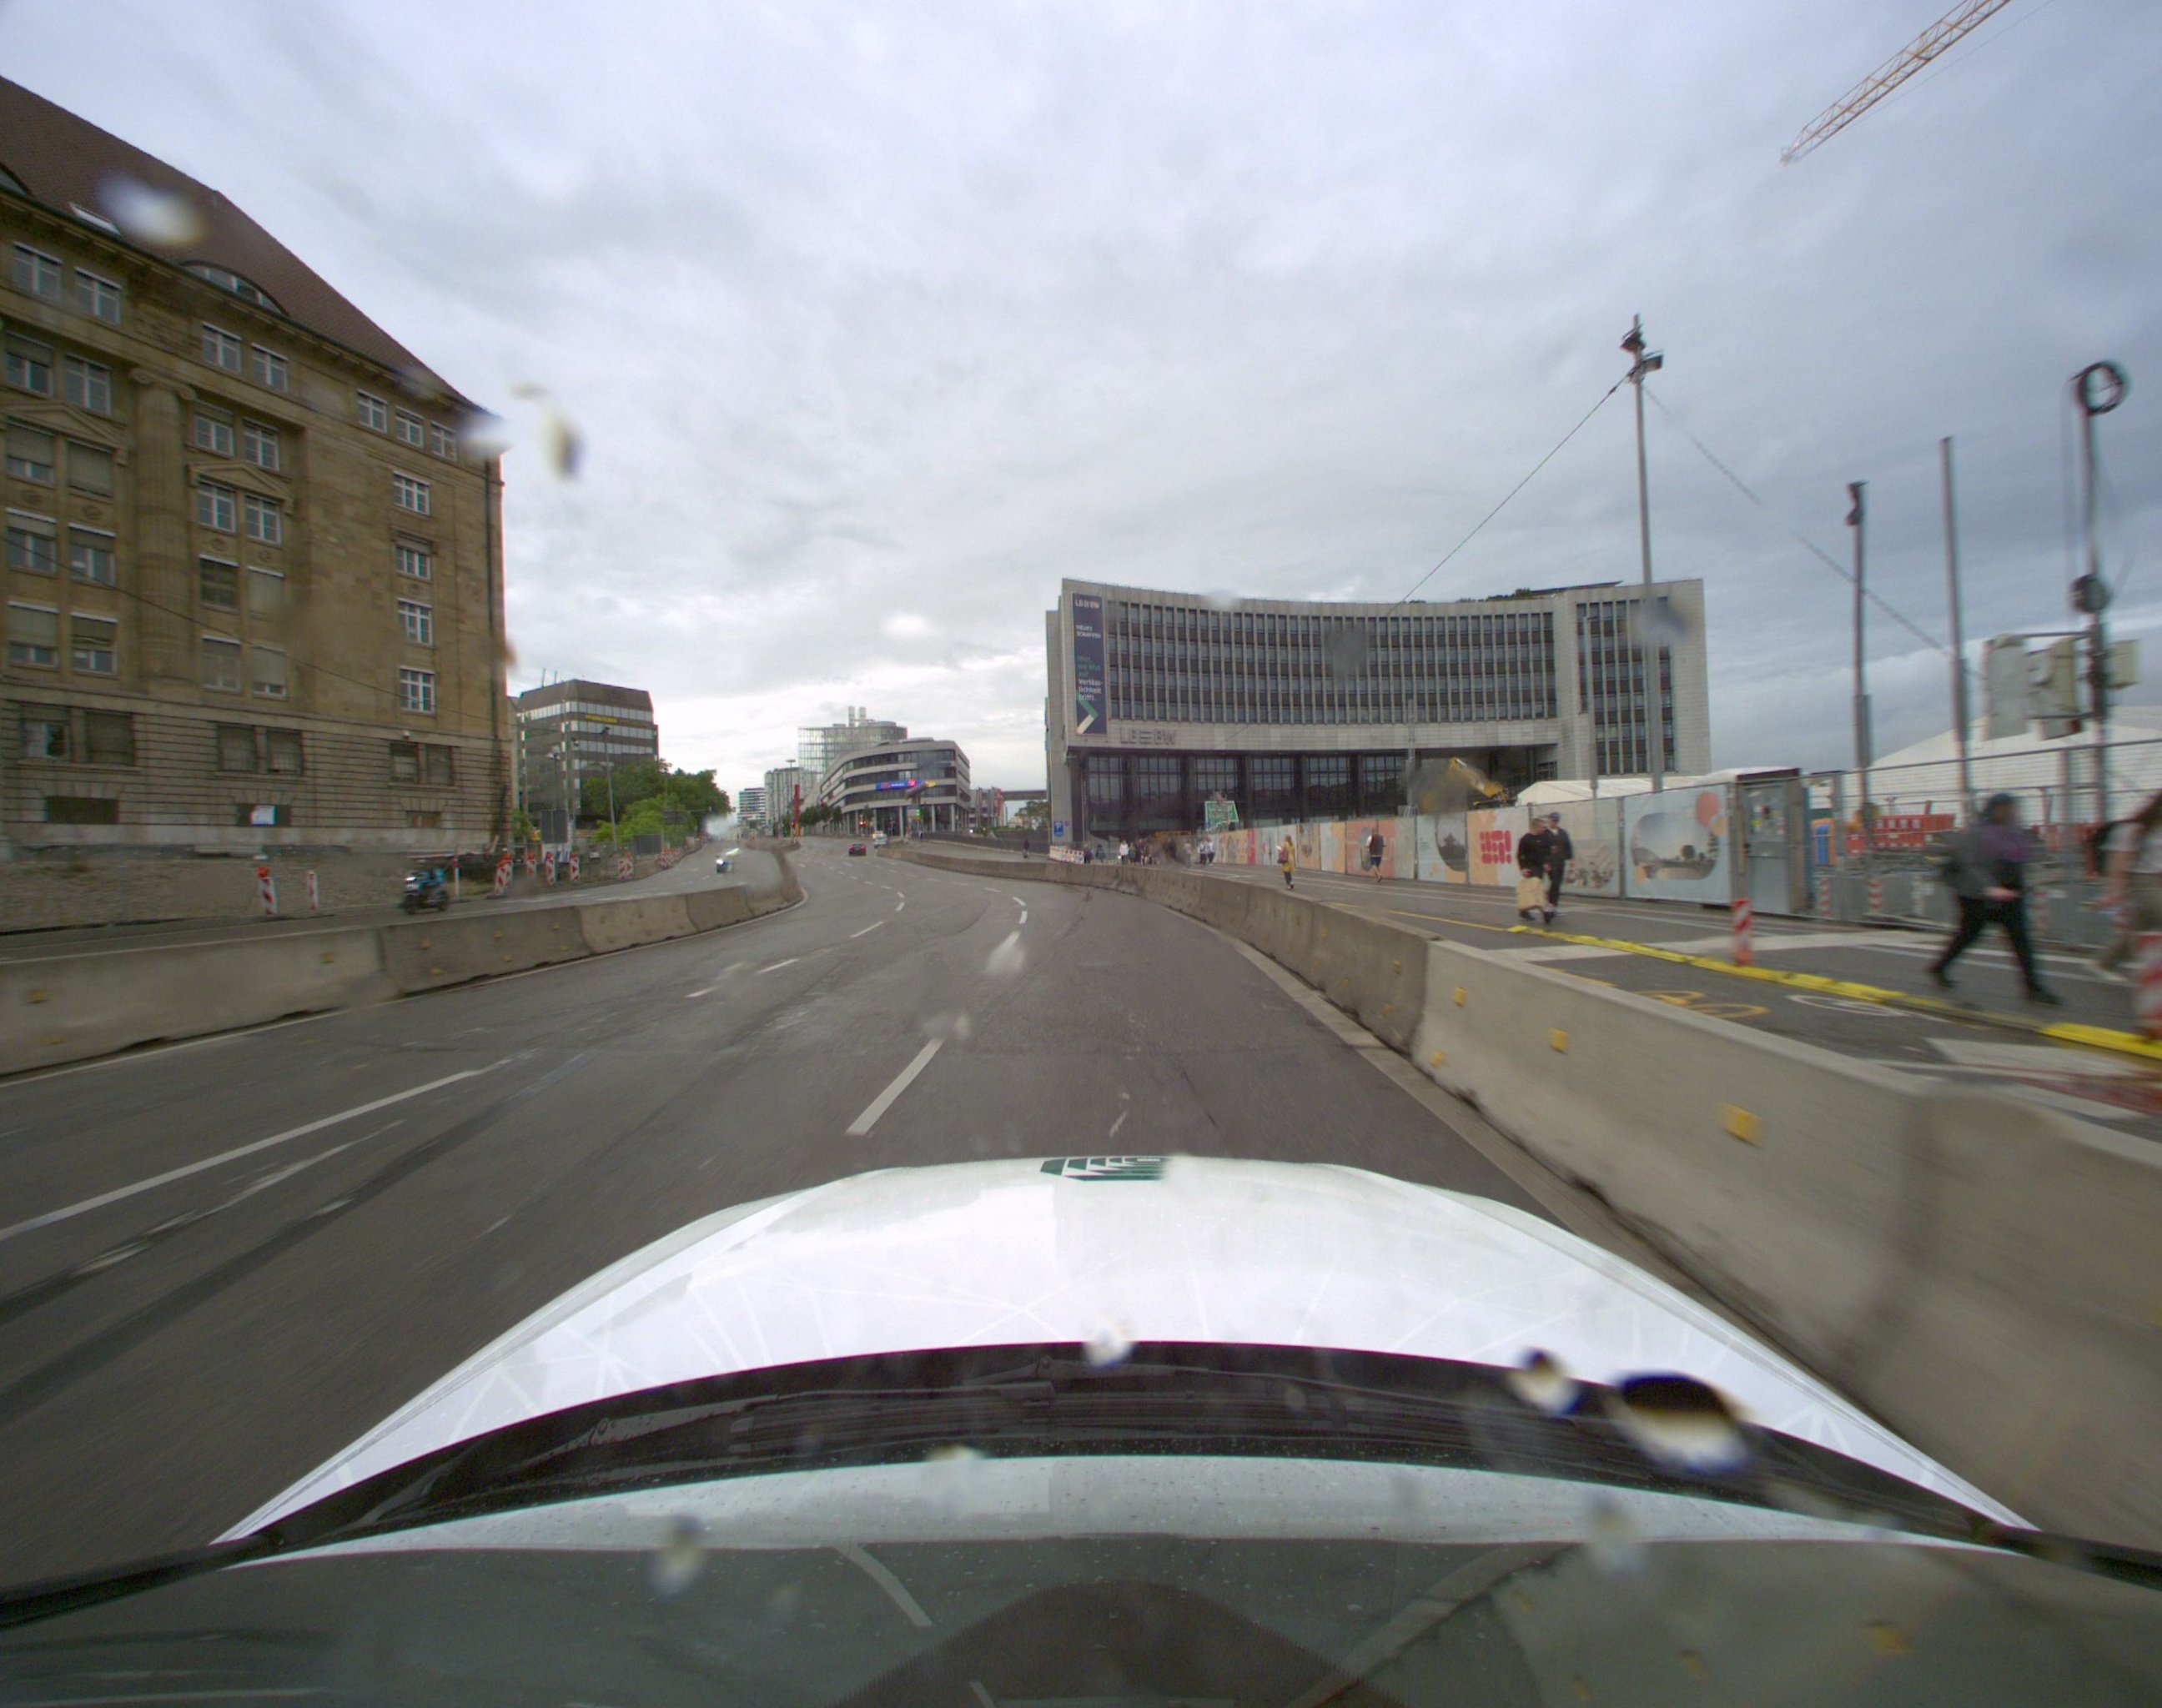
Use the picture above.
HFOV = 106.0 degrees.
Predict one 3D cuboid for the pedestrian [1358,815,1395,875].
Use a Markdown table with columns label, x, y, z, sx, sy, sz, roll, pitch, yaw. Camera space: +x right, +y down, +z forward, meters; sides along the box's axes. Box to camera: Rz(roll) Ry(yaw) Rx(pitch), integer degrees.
| label | x | y | z | sx | sy | sz | roll | pitch | yaw |
| --- | --- | --- | --- | --- | --- | --- | --- | --- | --- |
| pedestrian | 9.585 | -0.290 | 26.424 | 0.777 | 1.861 | 0.811 | -3 | 1 | -3 |

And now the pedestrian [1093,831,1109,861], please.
| label | x | y | z | sx | sy | sz | roll | pitch | yaw |
| --- | --- | --- | --- | --- | --- | --- | --- | --- | --- |
| pedestrian | 1.125 | -0.461 | 46.026 | 0.659 | 1.641 | 0.820 | -2 | 1 | -12 |

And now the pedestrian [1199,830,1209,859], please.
| label | x | y | z | sx | sy | sz | roll | pitch | yaw |
| --- | --- | --- | --- | --- | --- | --- | --- | --- | --- |
| pedestrian | 7.313 | -0.546 | 48.542 | 0.447 | 1.704 | 0.647 | -2 | 1 | -1 |

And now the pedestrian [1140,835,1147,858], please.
| label | x | y | z | sx | sy | sz | roll | pitch | yaw |
| --- | --- | --- | --- | --- | --- | --- | --- | --- | --- |
| pedestrian | 4.617 | -0.541 | 60.028 | 0.445 | 1.704 | 0.648 | -2 | 1 | 9 |

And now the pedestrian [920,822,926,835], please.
| label | x | y | z | sx | sy | sz | roll | pitch | yaw |
| --- | --- | --- | --- | --- | --- | --- | --- | --- | --- |
| pedestrian | -21.745 | -3.500 | 112.338 | 0.623 | 1.764 | 0.590 | -2 | 1 | 2 |

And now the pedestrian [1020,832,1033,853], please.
| label | x | y | z | sx | sy | sz | roll | pitch | yaw |
| --- | --- | --- | --- | --- | --- | --- | --- | --- | --- |
| pedestrian | -4.708 | -1.024 | 70.505 | 0.759 | 1.790 | 1.050 | -2 | 0 | -20 |

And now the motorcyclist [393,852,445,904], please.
| label | x | y | z | sx | sy | sz | roll | pitch | yaw |
| --- | --- | --- | --- | --- | --- | --- | --- | --- | --- |
| motorcyclist | -19.559 | 0.698 | 24.090 | 0.796 | 1.451 | 0.824 | -2 | 1 | -5 |

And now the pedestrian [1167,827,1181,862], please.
| label | x | y | z | sx | sy | sz | roll | pitch | yaw |
| --- | --- | --- | --- | --- | --- | --- | --- | --- | --- |
| pedestrian | 5.505 | -0.590 | 48.134 | 0.780 | 2.013 | 0.865 | -2 | 1 | 7 |

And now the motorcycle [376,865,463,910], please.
| label | x | y | z | sx | sy | sz | roll | pitch | yaw |
| --- | --- | --- | --- | --- | --- | --- | --- | --- | --- |
| motorcycle | -19.577 | 0.969 | 24.181 | 0.867 | 1.148 | 2.151 | -2 | 2 | -4 |

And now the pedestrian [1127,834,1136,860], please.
| label | x | y | z | sx | sy | sz | roll | pitch | yaw |
| --- | --- | --- | --- | --- | --- | --- | --- | --- | --- |
| pedestrian | 3.376 | -0.484 | 54.736 | 0.452 | 1.704 | 0.646 | -2 | 1 | -4 |

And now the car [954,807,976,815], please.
| label | x | y | z | sx | sy | sz | roll | pitch | yaw |
| --- | --- | --- | --- | --- | --- | --- | --- | --- | --- |
| car | -20.709 | -7.669 | 145.731 | 1.606 | 1.434 | 3.765 | 0 | 2 | 40 |

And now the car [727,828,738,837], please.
| label | x | y | z | sx | sy | sz | roll | pitch | yaw |
| --- | --- | --- | --- | --- | --- | --- | --- | --- | --- |
| car | -62.258 | -3.806 | 145.645 | 1.607 | 1.352 | 3.727 | -2 | -2 | -21 |

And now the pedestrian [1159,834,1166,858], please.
| label | x | y | z | sx | sy | sz | roll | pitch | yaw |
| --- | --- | --- | --- | --- | --- | --- | --- | --- | --- |
| pedestrian | 6.001 | -0.583 | 59.852 | 0.445 | 1.704 | 0.648 | -2 | 1 | 9 |

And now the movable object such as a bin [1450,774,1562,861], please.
| label | x | y | z | sx | sy | sz | roll | pitch | yaw |
| --- | --- | --- | --- | --- | --- | --- | --- | --- | --- |
| movable object such as a bin | 20.799 | -1.723 | 40.016 | 3.100 | 4.029 | 3.669 | -2 | 1 | -22 |

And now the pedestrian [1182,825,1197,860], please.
| label | x | y | z | sx | sy | sz | roll | pitch | yaw |
| --- | --- | --- | --- | --- | --- | --- | --- | --- | --- |
| pedestrian | 6.360 | -0.694 | 47.858 | 0.780 | 2.013 | 0.865 | -2 | 1 | 7 |

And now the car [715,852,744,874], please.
| label | x | y | z | sx | sy | sz | roll | pitch | yaw |
| --- | --- | --- | --- | --- | --- | --- | --- | --- | --- |
| car | -23.274 | 0.611 | 53.859 | 1.609 | 1.352 | 3.723 | -2 | -2 | -25 |

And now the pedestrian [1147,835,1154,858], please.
| label | x | y | z | sx | sy | sz | roll | pitch | yaw |
| --- | --- | --- | --- | --- | --- | --- | --- | --- | --- |
| pedestrian | 5.108 | -0.574 | 59.955 | 0.445 | 1.704 | 0.648 | -2 | 1 | 9 |

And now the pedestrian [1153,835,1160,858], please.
| label | x | y | z | sx | sy | sz | roll | pitch | yaw |
| --- | --- | --- | --- | --- | --- | --- | --- | --- | --- |
| pedestrian | 5.545 | -0.567 | 59.920 | 0.445 | 1.704 | 0.648 | -2 | 1 | 9 |

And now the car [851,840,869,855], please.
| label | x | y | z | sx | sy | sz | roll | pitch | yaw |
| --- | --- | --- | --- | --- | --- | --- | --- | --- | --- |
| car | -23.879 | -0.686 | 88.095 | 1.676 | 1.508 | 3.728 | -2 | -2 | -13 |

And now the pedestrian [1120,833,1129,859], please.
| label | x | y | z | sx | sy | sz | roll | pitch | yaw |
| --- | --- | --- | --- | --- | --- | --- | --- | --- | --- |
| pedestrian | 2.915 | -0.543 | 54.556 | 0.447 | 1.704 | 0.646 | -2 | 1 | -4 |

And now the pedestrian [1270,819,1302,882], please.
| label | x | y | z | sx | sy | sz | roll | pitch | yaw |
| --- | --- | --- | --- | --- | --- | --- | --- | --- | --- |
| pedestrian | 6.296 | -0.111 | 25.056 | 0.730 | 1.854 | 0.831 | -2 | 0 | -1 |

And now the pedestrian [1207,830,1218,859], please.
| label | x | y | z | sx | sy | sz | roll | pitch | yaw |
| --- | --- | --- | --- | --- | --- | --- | --- | --- | --- |
| pedestrian | 7.838 | -0.589 | 48.612 | 0.501 | 1.704 | 0.647 | -2 | 1 | -1 |

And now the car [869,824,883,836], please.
| label | x | y | z | sx | sy | sz | roll | pitch | yaw |
| --- | --- | --- | --- | --- | --- | --- | --- | --- | --- |
| car | -32.545 | -3.829 | 129.606 | 1.996 | 1.804 | 4.247 | -2 | 2 | -13 |

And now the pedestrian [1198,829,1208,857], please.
| label | x | y | z | sx | sy | sz | roll | pitch | yaw |
| --- | --- | --- | --- | --- | --- | --- | --- | --- | --- |
| pedestrian | 7.578 | -0.693 | 50.630 | 0.498 | 1.704 | 0.732 | -2 | 1 | -1 |

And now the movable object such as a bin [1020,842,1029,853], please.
| label | x | y | z | sx | sy | sz | roll | pitch | yaw |
| --- | --- | --- | --- | --- | --- | --- | --- | --- | --- |
| movable object such as a bin | -4.867 | -0.586 | 70.076 | 0.600 | 0.933 | 0.737 | -2 | 1 | -21 |

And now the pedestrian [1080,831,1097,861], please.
| label | x | y | z | sx | sy | sz | roll | pitch | yaw |
| --- | --- | --- | --- | --- | --- | --- | --- | --- | --- |
| pedestrian | 0.407 | -0.438 | 45.882 | 0.751 | 1.641 | 0.820 | -2 | 1 | -12 |

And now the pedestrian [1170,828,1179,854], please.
| label | x | y | z | sx | sy | sz | roll | pitch | yaw |
| --- | --- | --- | --- | --- | --- | --- | --- | --- | --- |
| pedestrian | 6.554 | -0.909 | 57.334 | 0.527 | 1.818 | 0.536 | -2 | 1 | 0 |

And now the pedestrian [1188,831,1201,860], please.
| label | x | y | z | sx | sy | sz | roll | pitch | yaw |
| --- | --- | --- | --- | --- | --- | --- | --- | --- | --- |
| pedestrian | 6.753 | -0.517 | 48.550 | 0.623 | 1.704 | 0.647 | -2 | 1 | -1 |

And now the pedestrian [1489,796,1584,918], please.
| label | x | y | z | sx | sy | sz | roll | pitch | yaw |
| --- | --- | --- | --- | --- | --- | --- | --- | --- | --- |
| pedestrian | 7.256 | 0.045 | 13.026 | 0.817 | 1.827 | 1.110 | -3 | 0 | -2 |

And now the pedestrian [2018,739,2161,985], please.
| label | x | y | z | sx | sy | sz | roll | pitch | yaw |
| --- | --- | --- | --- | --- | --- | --- | --- | --- | --- |
| pedestrian | 8.524 | 0.043 | 6.534 | 0.777 | 1.861 | 1.057 | -2 | 1 | -3 |

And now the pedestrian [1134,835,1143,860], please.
| label | x | y | z | sx | sy | sz | roll | pitch | yaw |
| --- | --- | --- | --- | --- | --- | --- | --- | --- | --- |
| pedestrian | 3.853 | -0.434 | 54.829 | 0.447 | 1.704 | 0.646 | -2 | 1 | -4 |

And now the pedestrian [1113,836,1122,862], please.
| label | x | y | z | sx | sy | sz | roll | pitch | yaw |
| --- | --- | --- | --- | --- | --- | --- | --- | --- | --- |
| pedestrian | 2.454 | -0.315 | 54.509 | 0.447 | 1.704 | 0.646 | -2 | 1 | -4 |

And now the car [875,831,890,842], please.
| label | x | y | z | sx | sy | sz | roll | pitch | yaw |
| --- | --- | --- | --- | --- | --- | --- | --- | --- | --- |
| car | -25.927 | -2.276 | 106.498 | 1.827 | 1.352 | 3.848 | -2 | 2 | -14 |

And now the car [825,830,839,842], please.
| label | x | y | z | sx | sy | sz | roll | pitch | yaw |
| --- | --- | --- | --- | --- | --- | --- | --- | --- | --- |
| car | -34.886 | -2.546 | 113.947 | 1.747 | 1.506 | 3.729 | -2 | 1 | -19 |

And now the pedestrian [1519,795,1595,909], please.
| label | x | y | z | sx | sy | sz | roll | pitch | yaw |
| --- | --- | --- | --- | --- | --- | --- | --- | --- | --- |
| pedestrian | 8.083 | -0.047 | 13.854 | 0.777 | 1.861 | 0.811 | -2 | 1 | -3 |

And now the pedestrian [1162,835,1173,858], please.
| label | x | y | z | sx | sy | sz | roll | pitch | yaw |
| --- | --- | --- | --- | --- | --- | --- | --- | --- | --- |
| pedestrian | 6.263 | -0.544 | 58.790 | 0.515 | 1.704 | 0.568 | -3 | 2 | -37 |

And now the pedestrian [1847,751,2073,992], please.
| label | x | y | z | sx | sy | sz | roll | pitch | yaw |
| --- | --- | --- | --- | --- | --- | --- | --- | --- | --- |
| pedestrian | 7.358 | 0.127 | 6.873 | 0.868 | 1.861 | 0.948 | -2 | 1 | -3 |
